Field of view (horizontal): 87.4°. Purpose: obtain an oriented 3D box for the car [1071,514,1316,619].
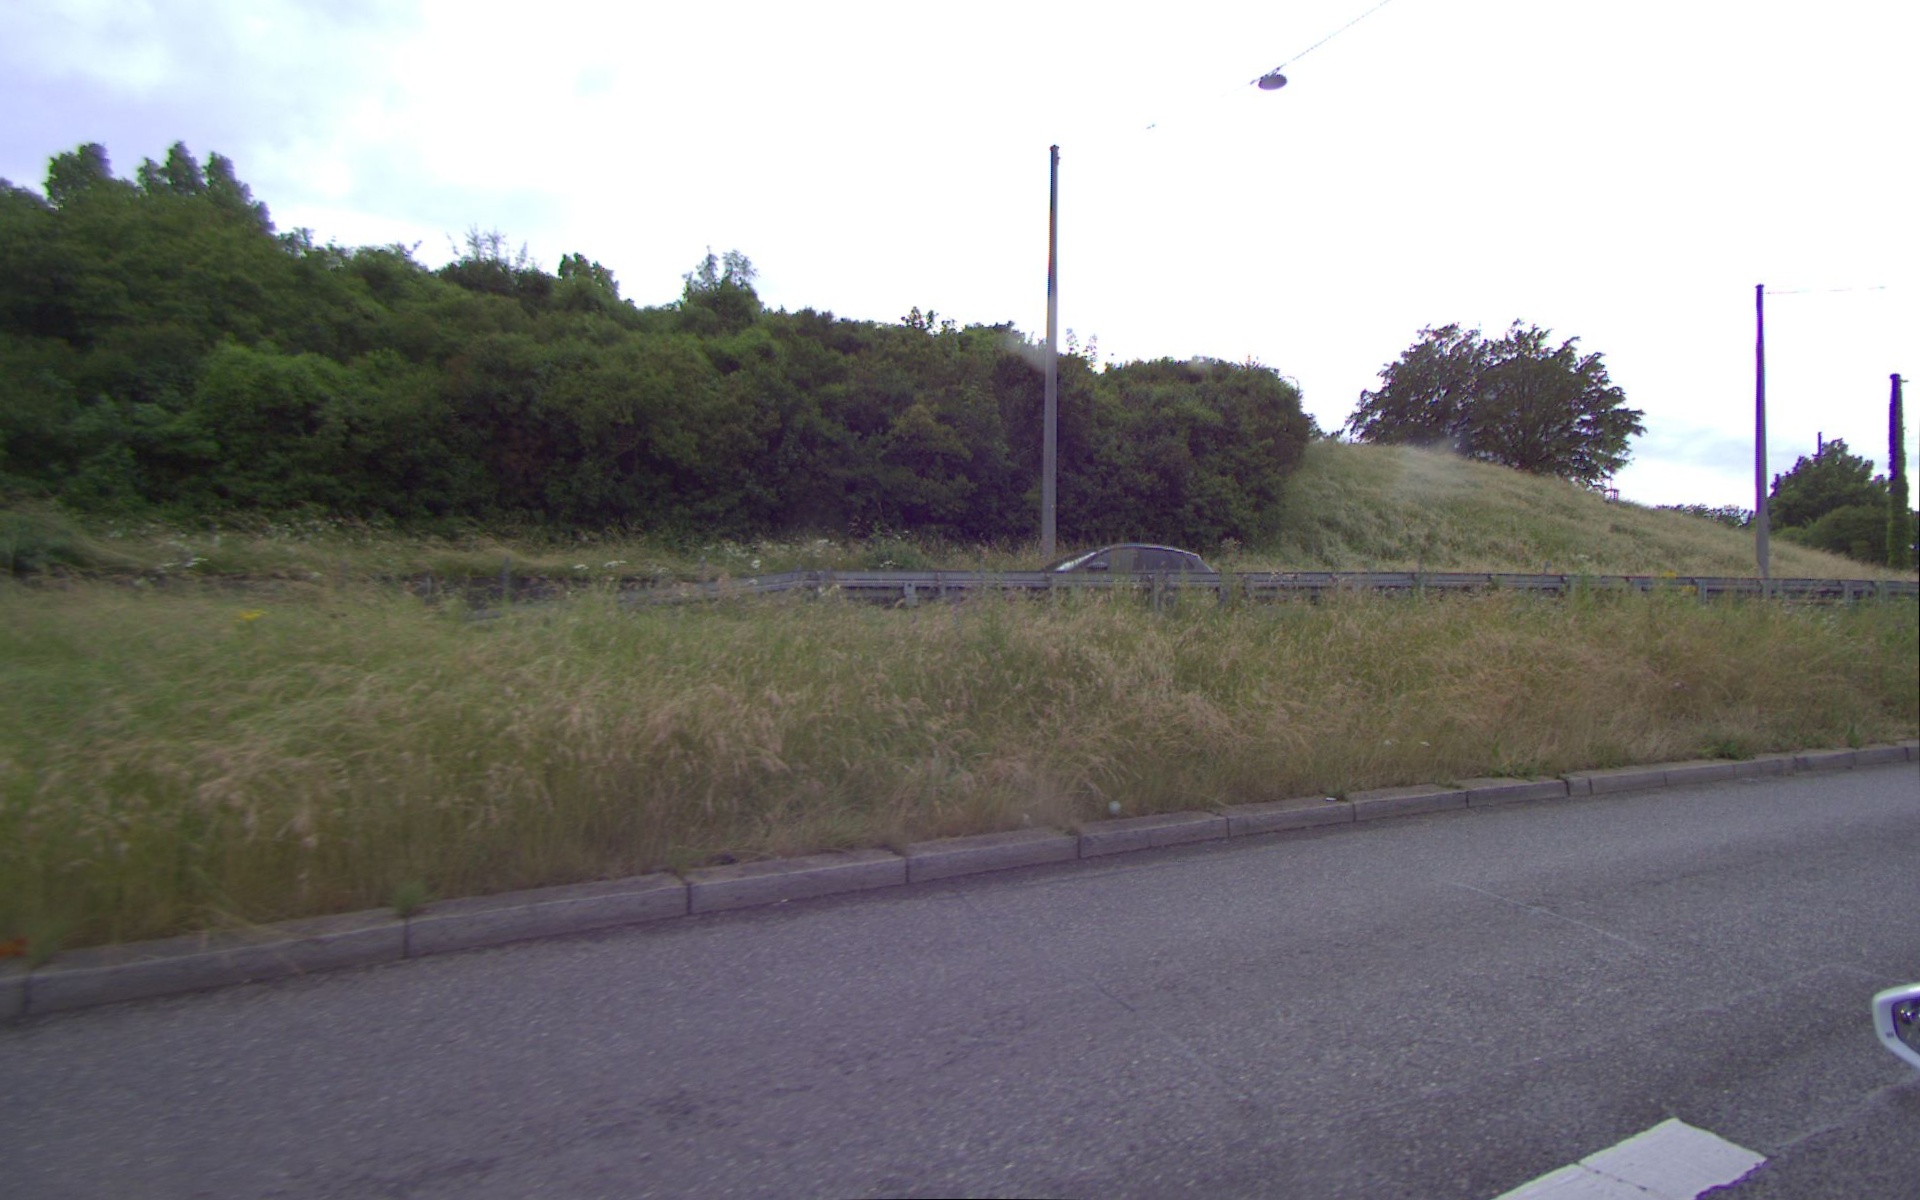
[{"bbox_3d":[4.124,-0.580,17.715,3.945,1.679,1.706,1,4,-24],"label":"car"}]
